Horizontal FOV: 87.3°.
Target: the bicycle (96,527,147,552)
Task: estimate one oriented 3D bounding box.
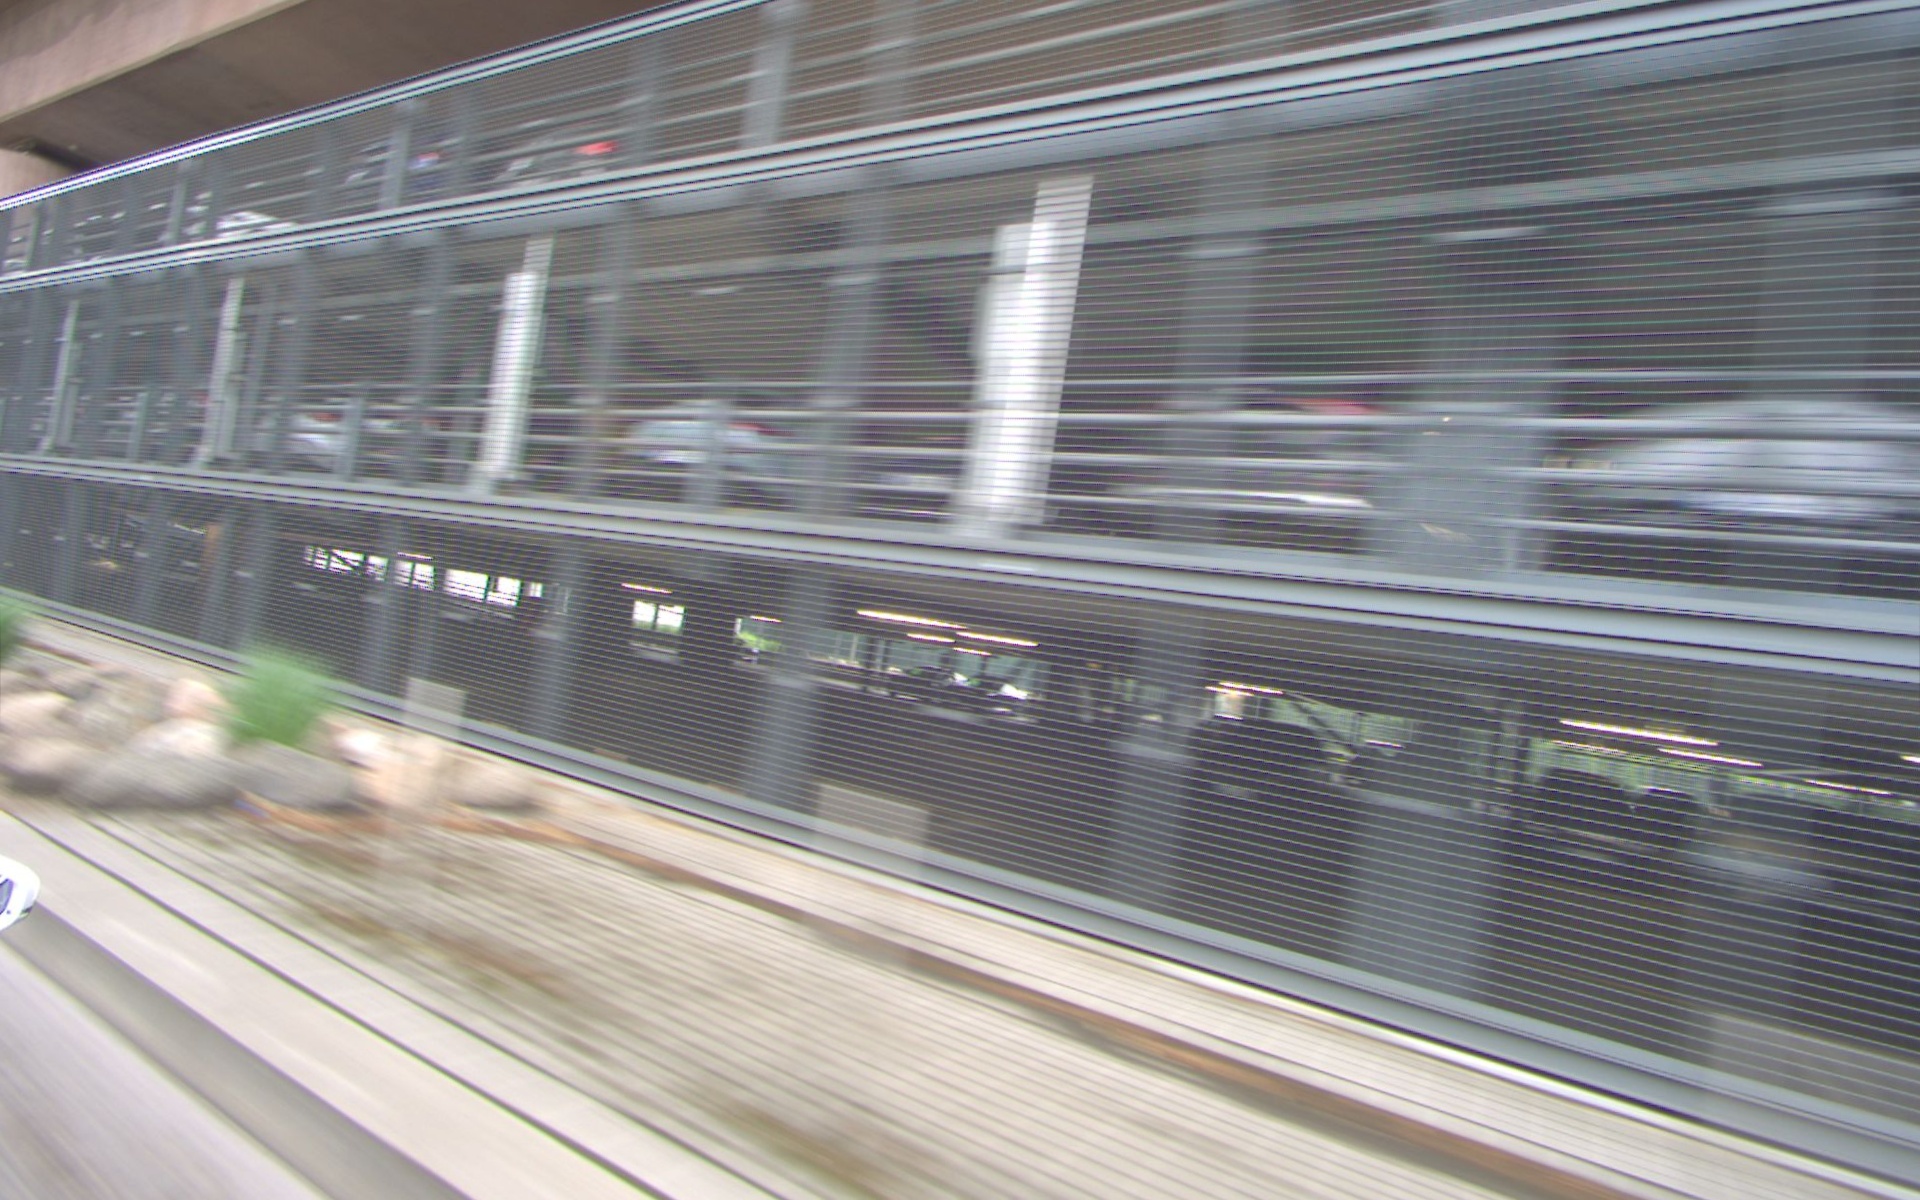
[{"bbox_3d":[-46.951,-3.390,56.343,0.390,1.034,2.059,8,-3,36],"label":"bicycle"}]
